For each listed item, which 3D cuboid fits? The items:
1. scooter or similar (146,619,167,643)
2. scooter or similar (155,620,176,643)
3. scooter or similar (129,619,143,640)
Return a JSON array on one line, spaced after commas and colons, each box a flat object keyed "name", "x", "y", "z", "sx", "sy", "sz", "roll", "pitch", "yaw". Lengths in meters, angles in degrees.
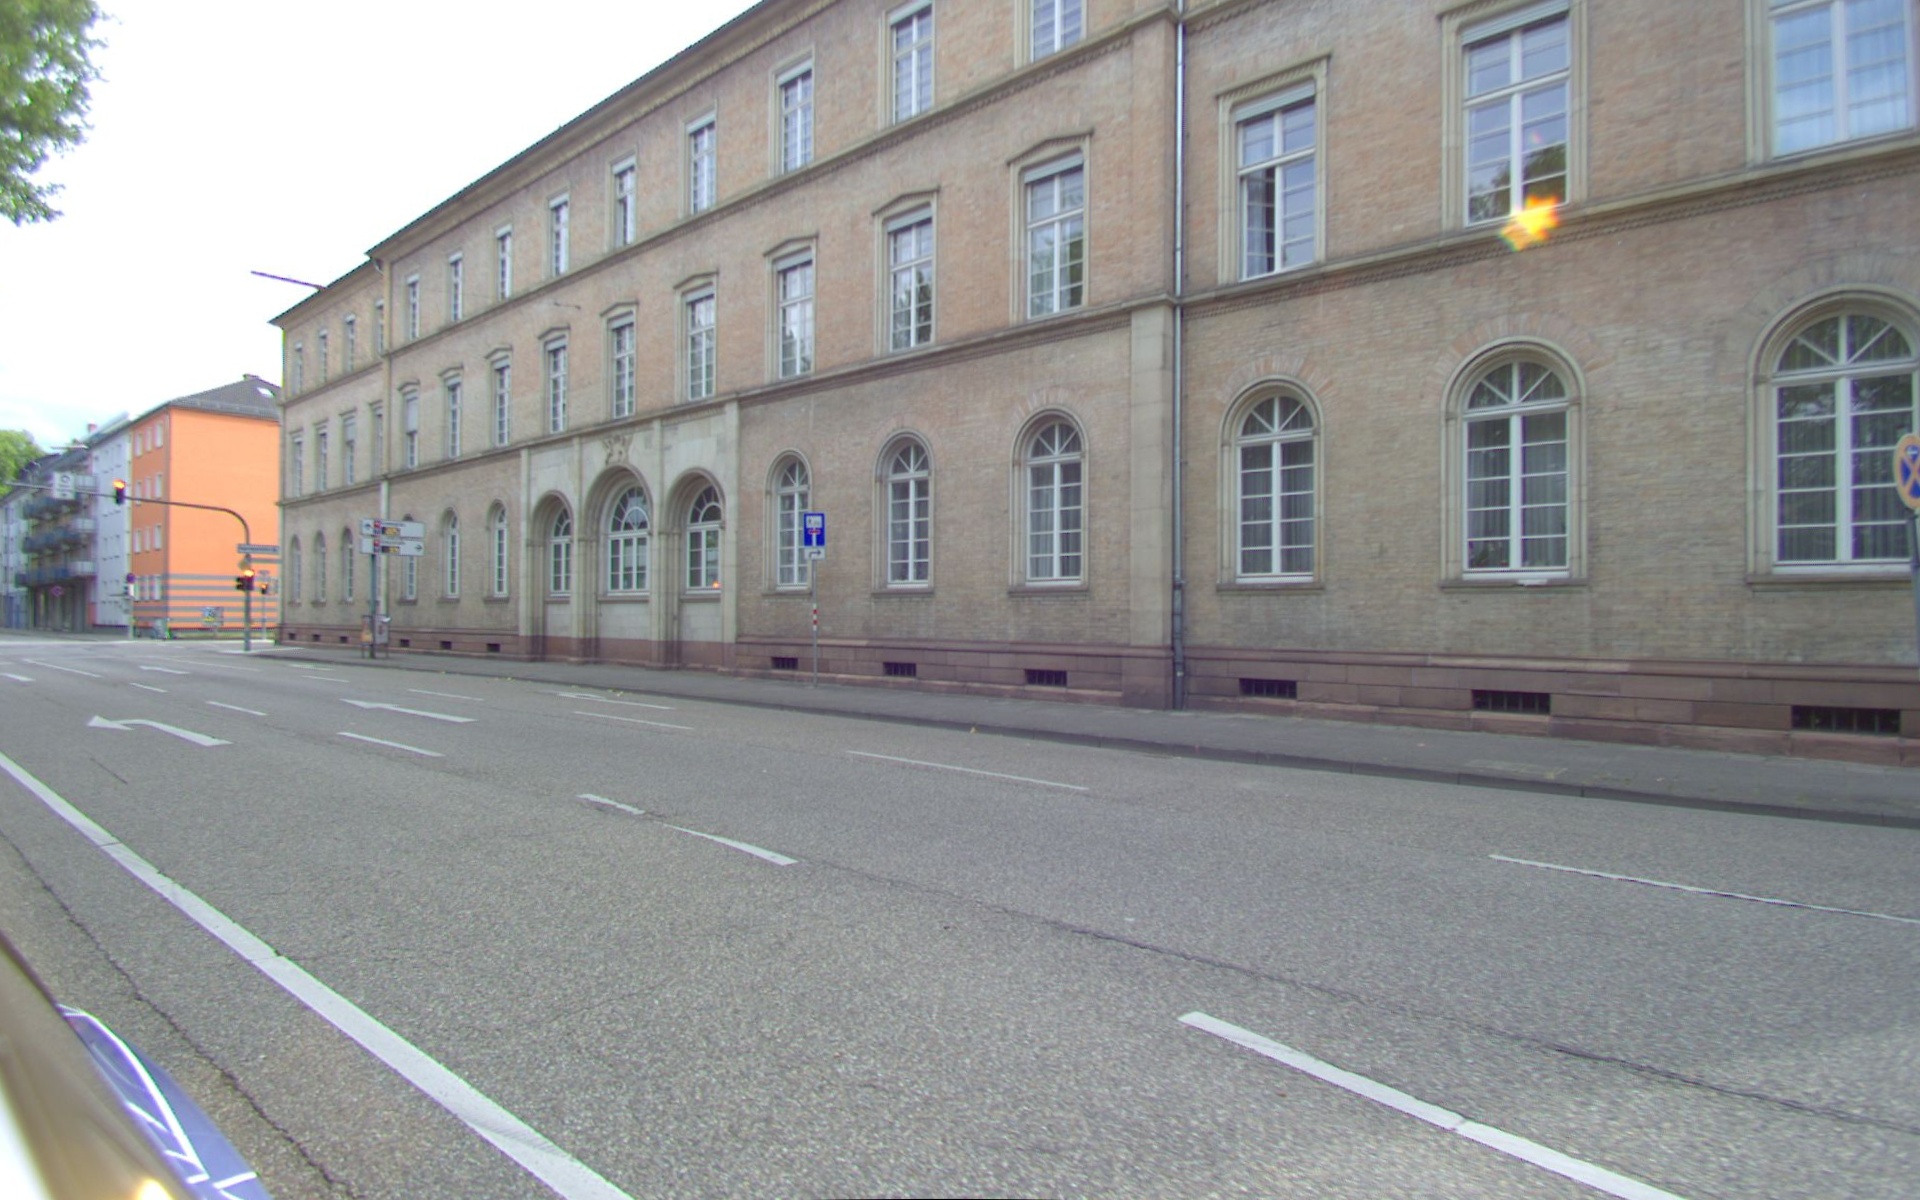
[{"name": "scooter or similar", "x": -41.298, "y": 1.605, "z": 51.985, "sx": 1.337, "sy": 1.188, "sz": 0.327, "roll": -1, "pitch": 0, "yaw": 28}, {"name": "scooter or similar", "x": -41.102, "y": 1.637, "z": 52.364, "sx": 1.347, "sy": 1.166, "sz": 0.327, "roll": -1, "pitch": 0, "yaw": 28}, {"name": "scooter or similar", "x": -46.077, "y": 1.632, "z": 56.578, "sx": 1.353, "sy": 1.133, "sz": 0.364, "roll": -1, "pitch": 0, "yaw": 42}]
